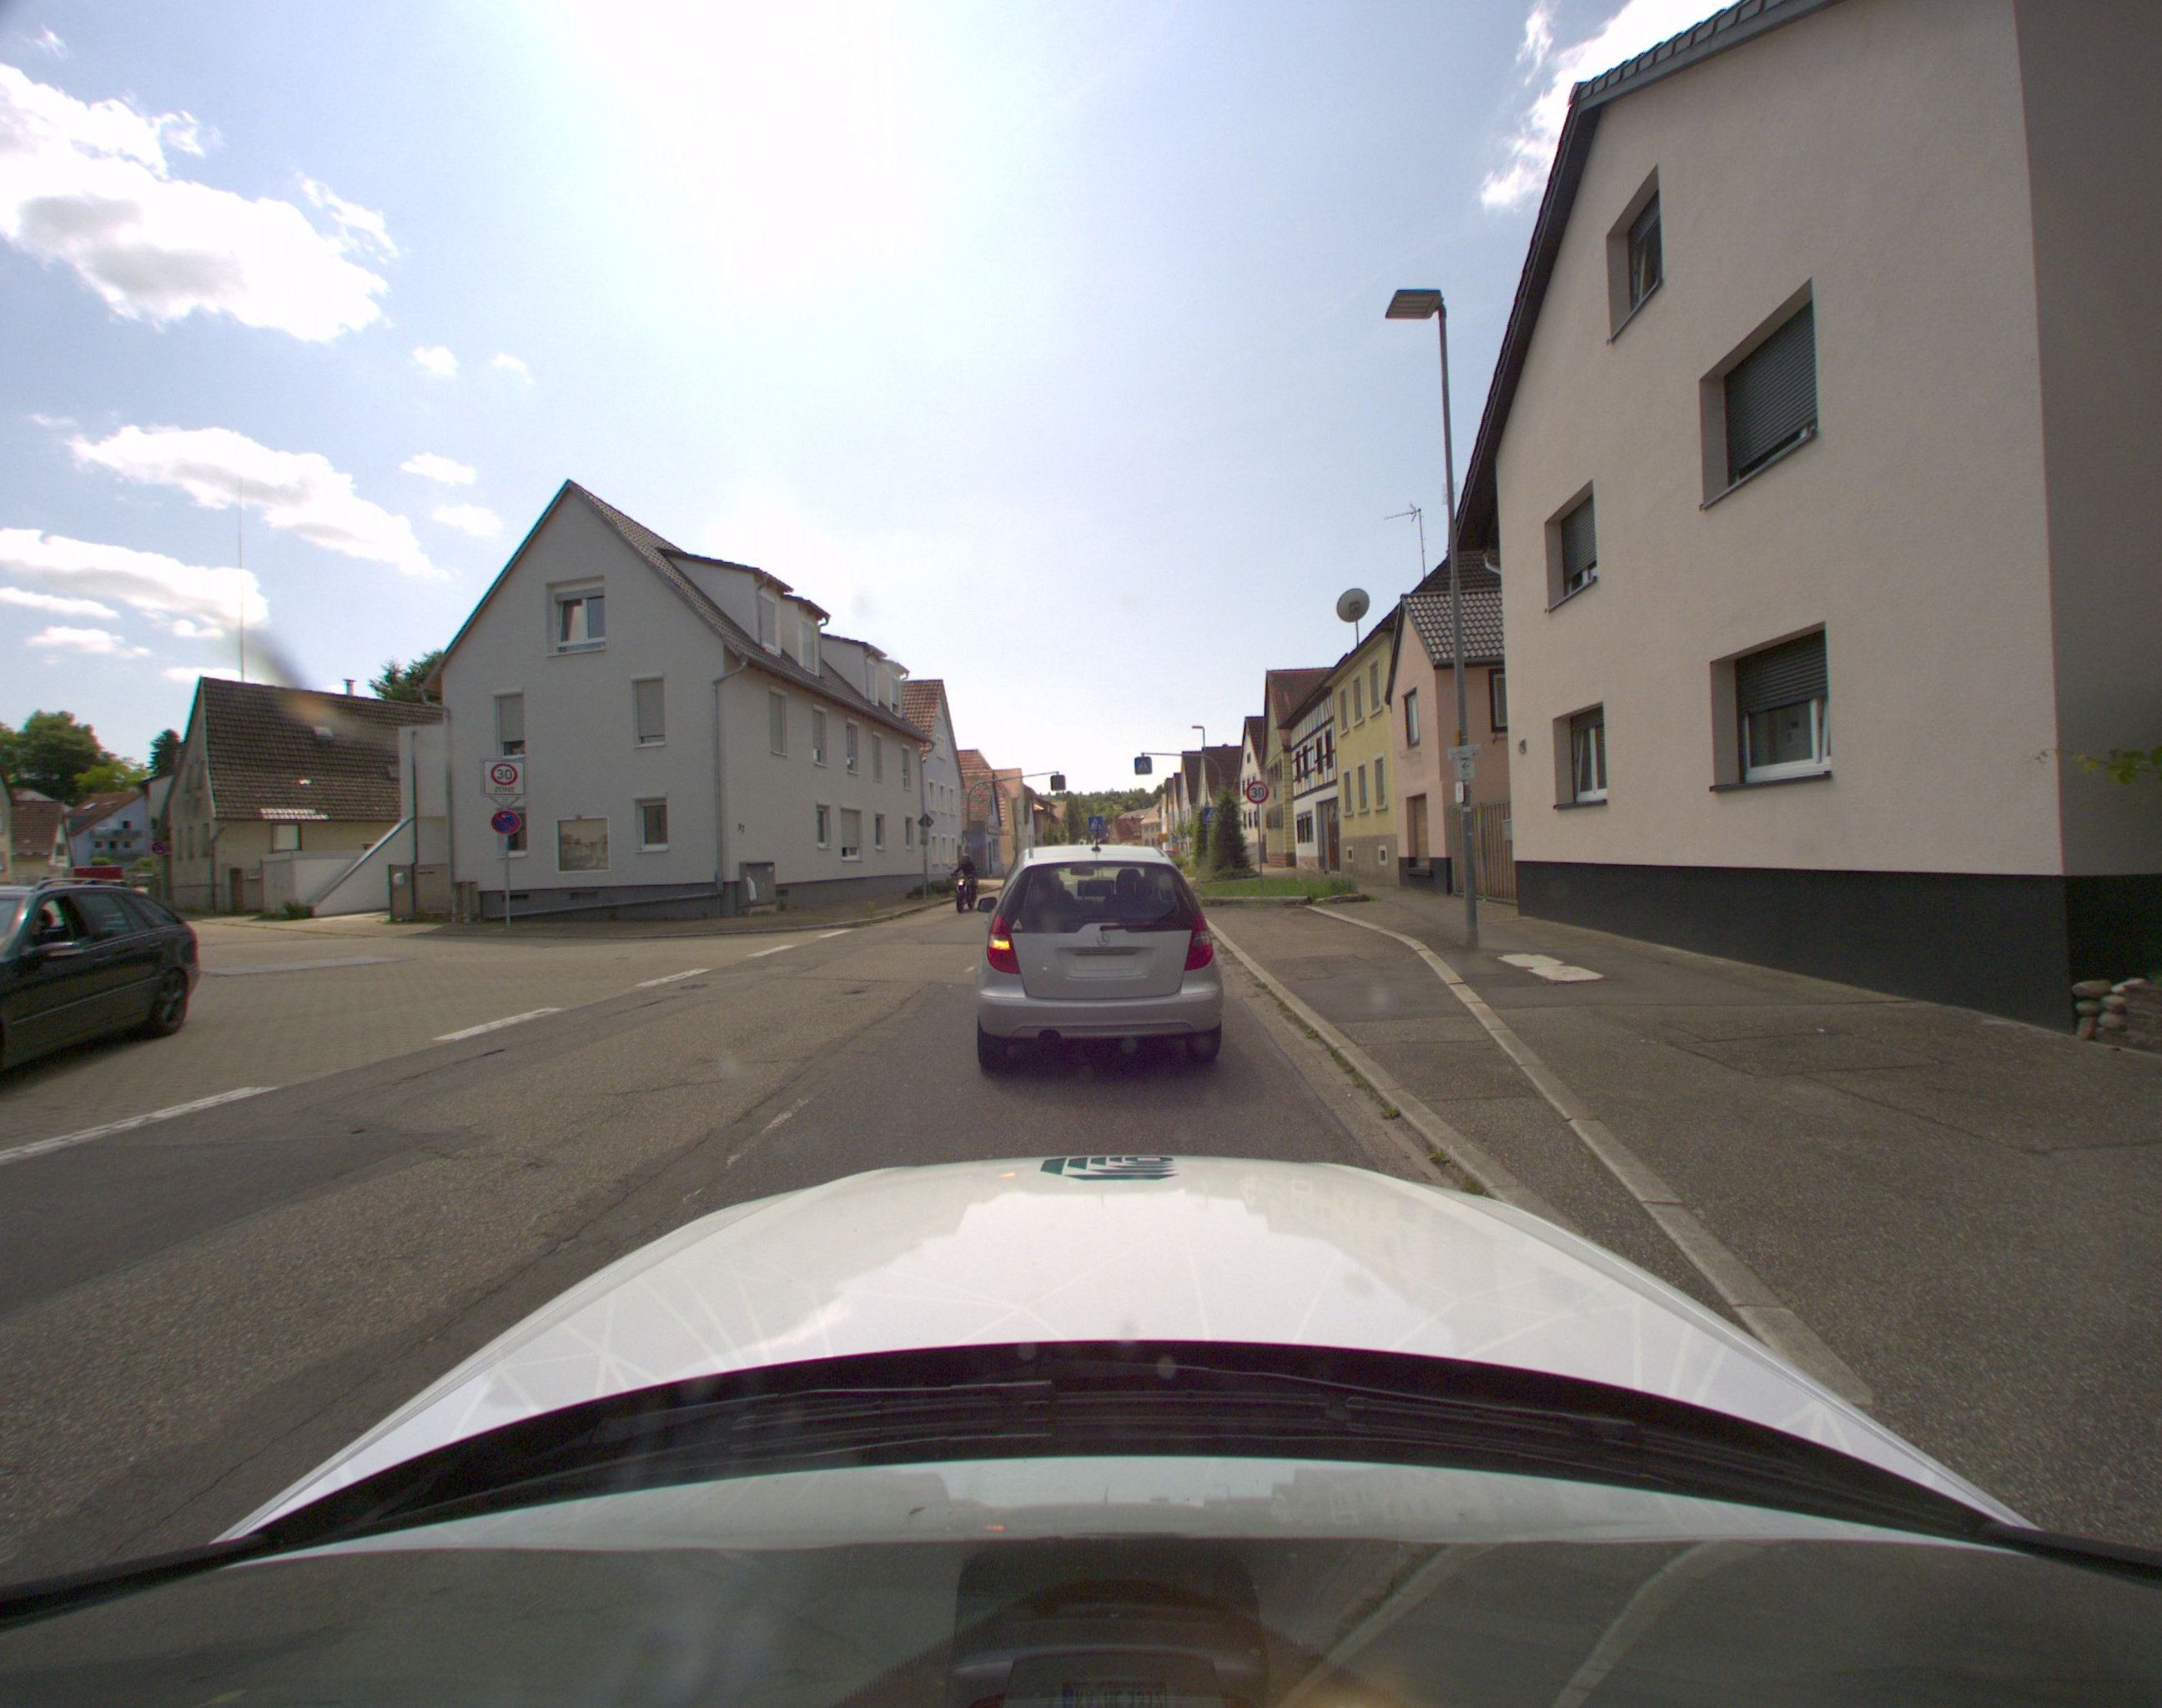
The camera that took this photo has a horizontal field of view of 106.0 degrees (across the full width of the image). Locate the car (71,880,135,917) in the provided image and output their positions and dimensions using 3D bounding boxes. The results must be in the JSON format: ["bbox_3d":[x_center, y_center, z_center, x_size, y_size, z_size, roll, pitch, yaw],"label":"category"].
[{"bbox_3d":[-42.007,1.903,34.969,3.431,1.530,1.500,-3,-2,36],"label":"car"}]

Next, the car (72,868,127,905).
[{"bbox_3d":[-46.281,1.539,38.377,3.431,1.635,1.406,-3,-2,36],"label":"car"}]

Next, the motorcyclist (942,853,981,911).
[{"bbox_3d":[-3.313,0.765,22.622,0.893,1.554,0.807,-1,0,3],"label":"motorcyclist"}]

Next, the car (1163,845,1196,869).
[{"bbox_3d":[6.752,0.217,56.199,1.985,1.508,4.002,-1,-2,2],"label":"car"}]

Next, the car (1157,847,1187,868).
[{"bbox_3d":[6.917,0.310,62.316,1.985,1.508,4.002,-1,-2,2],"label":"car"}]

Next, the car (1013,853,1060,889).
[{"bbox_3d":[-1.973,0.769,37.182,1.492,1.540,3.862,1,-2,6],"label":"car"}]

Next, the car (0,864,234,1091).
[{"bbox_3d":[-8.303,0.832,5.924,1.820,1.412,4.590,0,-2,-31],"label":"car"}]

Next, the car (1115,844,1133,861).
[{"bbox_3d":[4.990,-0.122,94.951,1.986,1.816,4.001,-1,-2,1],"label":"car"}]

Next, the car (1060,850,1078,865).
[{"bbox_3d":[-1.326,0.391,91.968,1.660,1.596,4.002,-1,-2,3],"label":"car"}]

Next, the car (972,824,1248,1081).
[{"bbox_3d":[0.064,0.645,7.158,1.807,1.643,3.723,0,-1,-4],"label":"car"}]

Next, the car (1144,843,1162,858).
[{"bbox_3d":[9.325,-0.428,105.767,1.986,1.816,4.001,-1,-2,1],"label":"car"}]

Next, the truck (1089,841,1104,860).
[{"bbox_3d":[2.347,-0.475,121.894,1.986,2.537,6.741,-1,-2,2],"label":"truck"}]

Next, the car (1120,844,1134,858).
[{"bbox_3d":[7.036,-0.480,124.630,1.986,2.014,4.002,-1,-2,2],"label":"car"}]

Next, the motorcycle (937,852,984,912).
[{"bbox_3d":[-3.327,0.753,22.673,0.876,1.561,1.969,-1,0,4],"label":"motorcycle"}]
